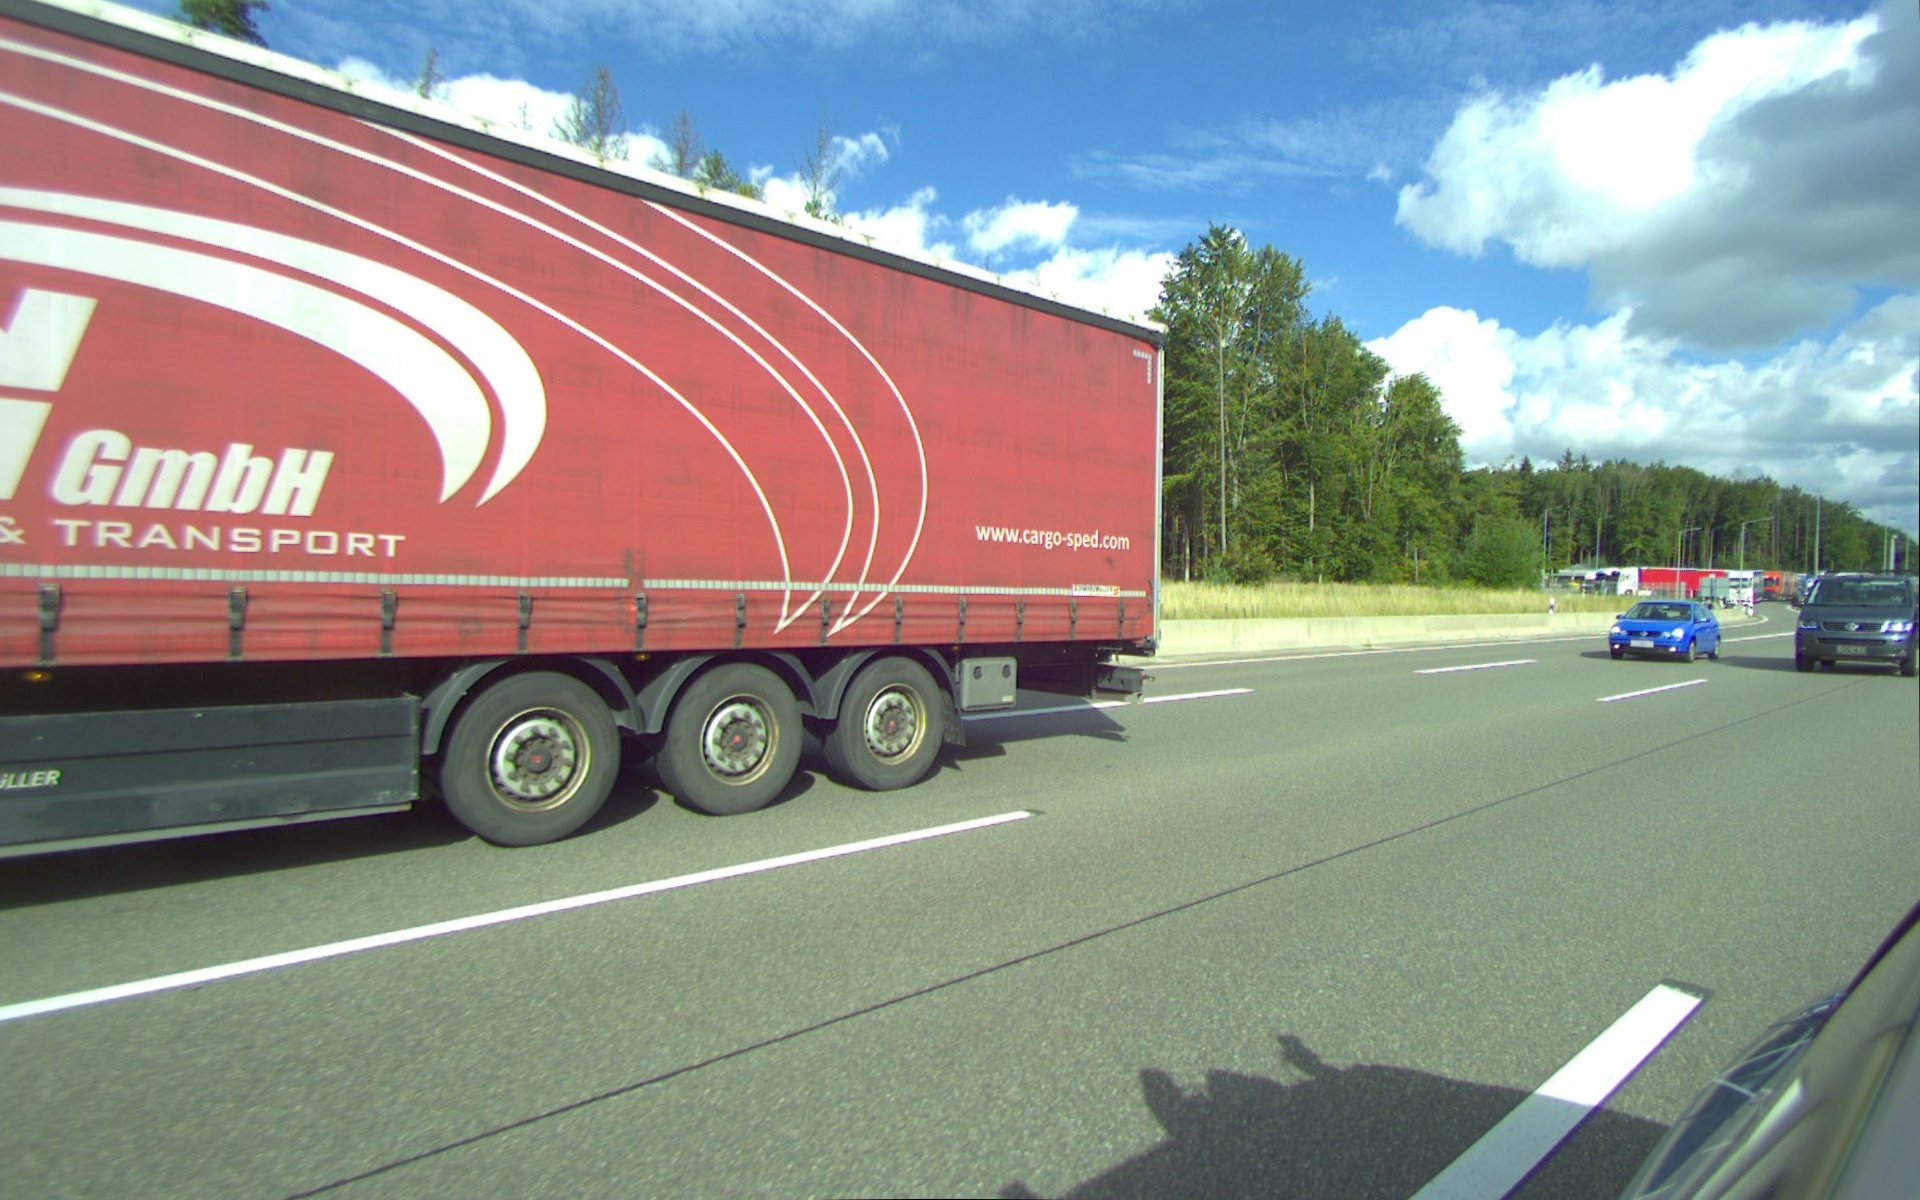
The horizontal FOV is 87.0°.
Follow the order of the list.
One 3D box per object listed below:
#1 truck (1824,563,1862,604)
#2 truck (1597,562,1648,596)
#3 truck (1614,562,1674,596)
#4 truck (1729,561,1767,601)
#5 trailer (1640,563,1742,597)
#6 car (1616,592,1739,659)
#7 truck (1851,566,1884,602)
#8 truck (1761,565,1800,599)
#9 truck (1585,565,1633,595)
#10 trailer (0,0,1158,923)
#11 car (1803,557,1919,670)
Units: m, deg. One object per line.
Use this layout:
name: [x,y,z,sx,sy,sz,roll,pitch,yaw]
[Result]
truck: [110.947,-2.078,127.099,6.866,4.986,2.658,0,2,-42]
truck: [92.217,-2.914,140.930,5.031,4.564,2.894,1,1,5]
truck: [92.593,-2.821,137.041,5.989,4.563,2.877,1,0,5]
truck: [93.032,-2.246,119.447,2.870,4.562,7.069,2,2,42]
trailer: [98.454,-2.683,136.487,11.184,4.429,2.841,1,0,6]
car: [17.383,0.562,24.467,3.932,1.460,1.652,0,1,-43]
truck: [126.804,-2.213,141.361,7.138,4.986,2.658,0,2,-42]
truck: [110.271,-2.404,135.988,6.915,4.563,2.876,0,1,-42]
truck: [92.386,-2.813,144.118,5.080,4.169,2.569,1,1,5]
trailer: [-4.186,-0.744,5.770,13.474,4.096,2.779,0,1,-41]
car: [19.399,0.243,21.311,4.847,2.136,1.852,0,0,-42]
